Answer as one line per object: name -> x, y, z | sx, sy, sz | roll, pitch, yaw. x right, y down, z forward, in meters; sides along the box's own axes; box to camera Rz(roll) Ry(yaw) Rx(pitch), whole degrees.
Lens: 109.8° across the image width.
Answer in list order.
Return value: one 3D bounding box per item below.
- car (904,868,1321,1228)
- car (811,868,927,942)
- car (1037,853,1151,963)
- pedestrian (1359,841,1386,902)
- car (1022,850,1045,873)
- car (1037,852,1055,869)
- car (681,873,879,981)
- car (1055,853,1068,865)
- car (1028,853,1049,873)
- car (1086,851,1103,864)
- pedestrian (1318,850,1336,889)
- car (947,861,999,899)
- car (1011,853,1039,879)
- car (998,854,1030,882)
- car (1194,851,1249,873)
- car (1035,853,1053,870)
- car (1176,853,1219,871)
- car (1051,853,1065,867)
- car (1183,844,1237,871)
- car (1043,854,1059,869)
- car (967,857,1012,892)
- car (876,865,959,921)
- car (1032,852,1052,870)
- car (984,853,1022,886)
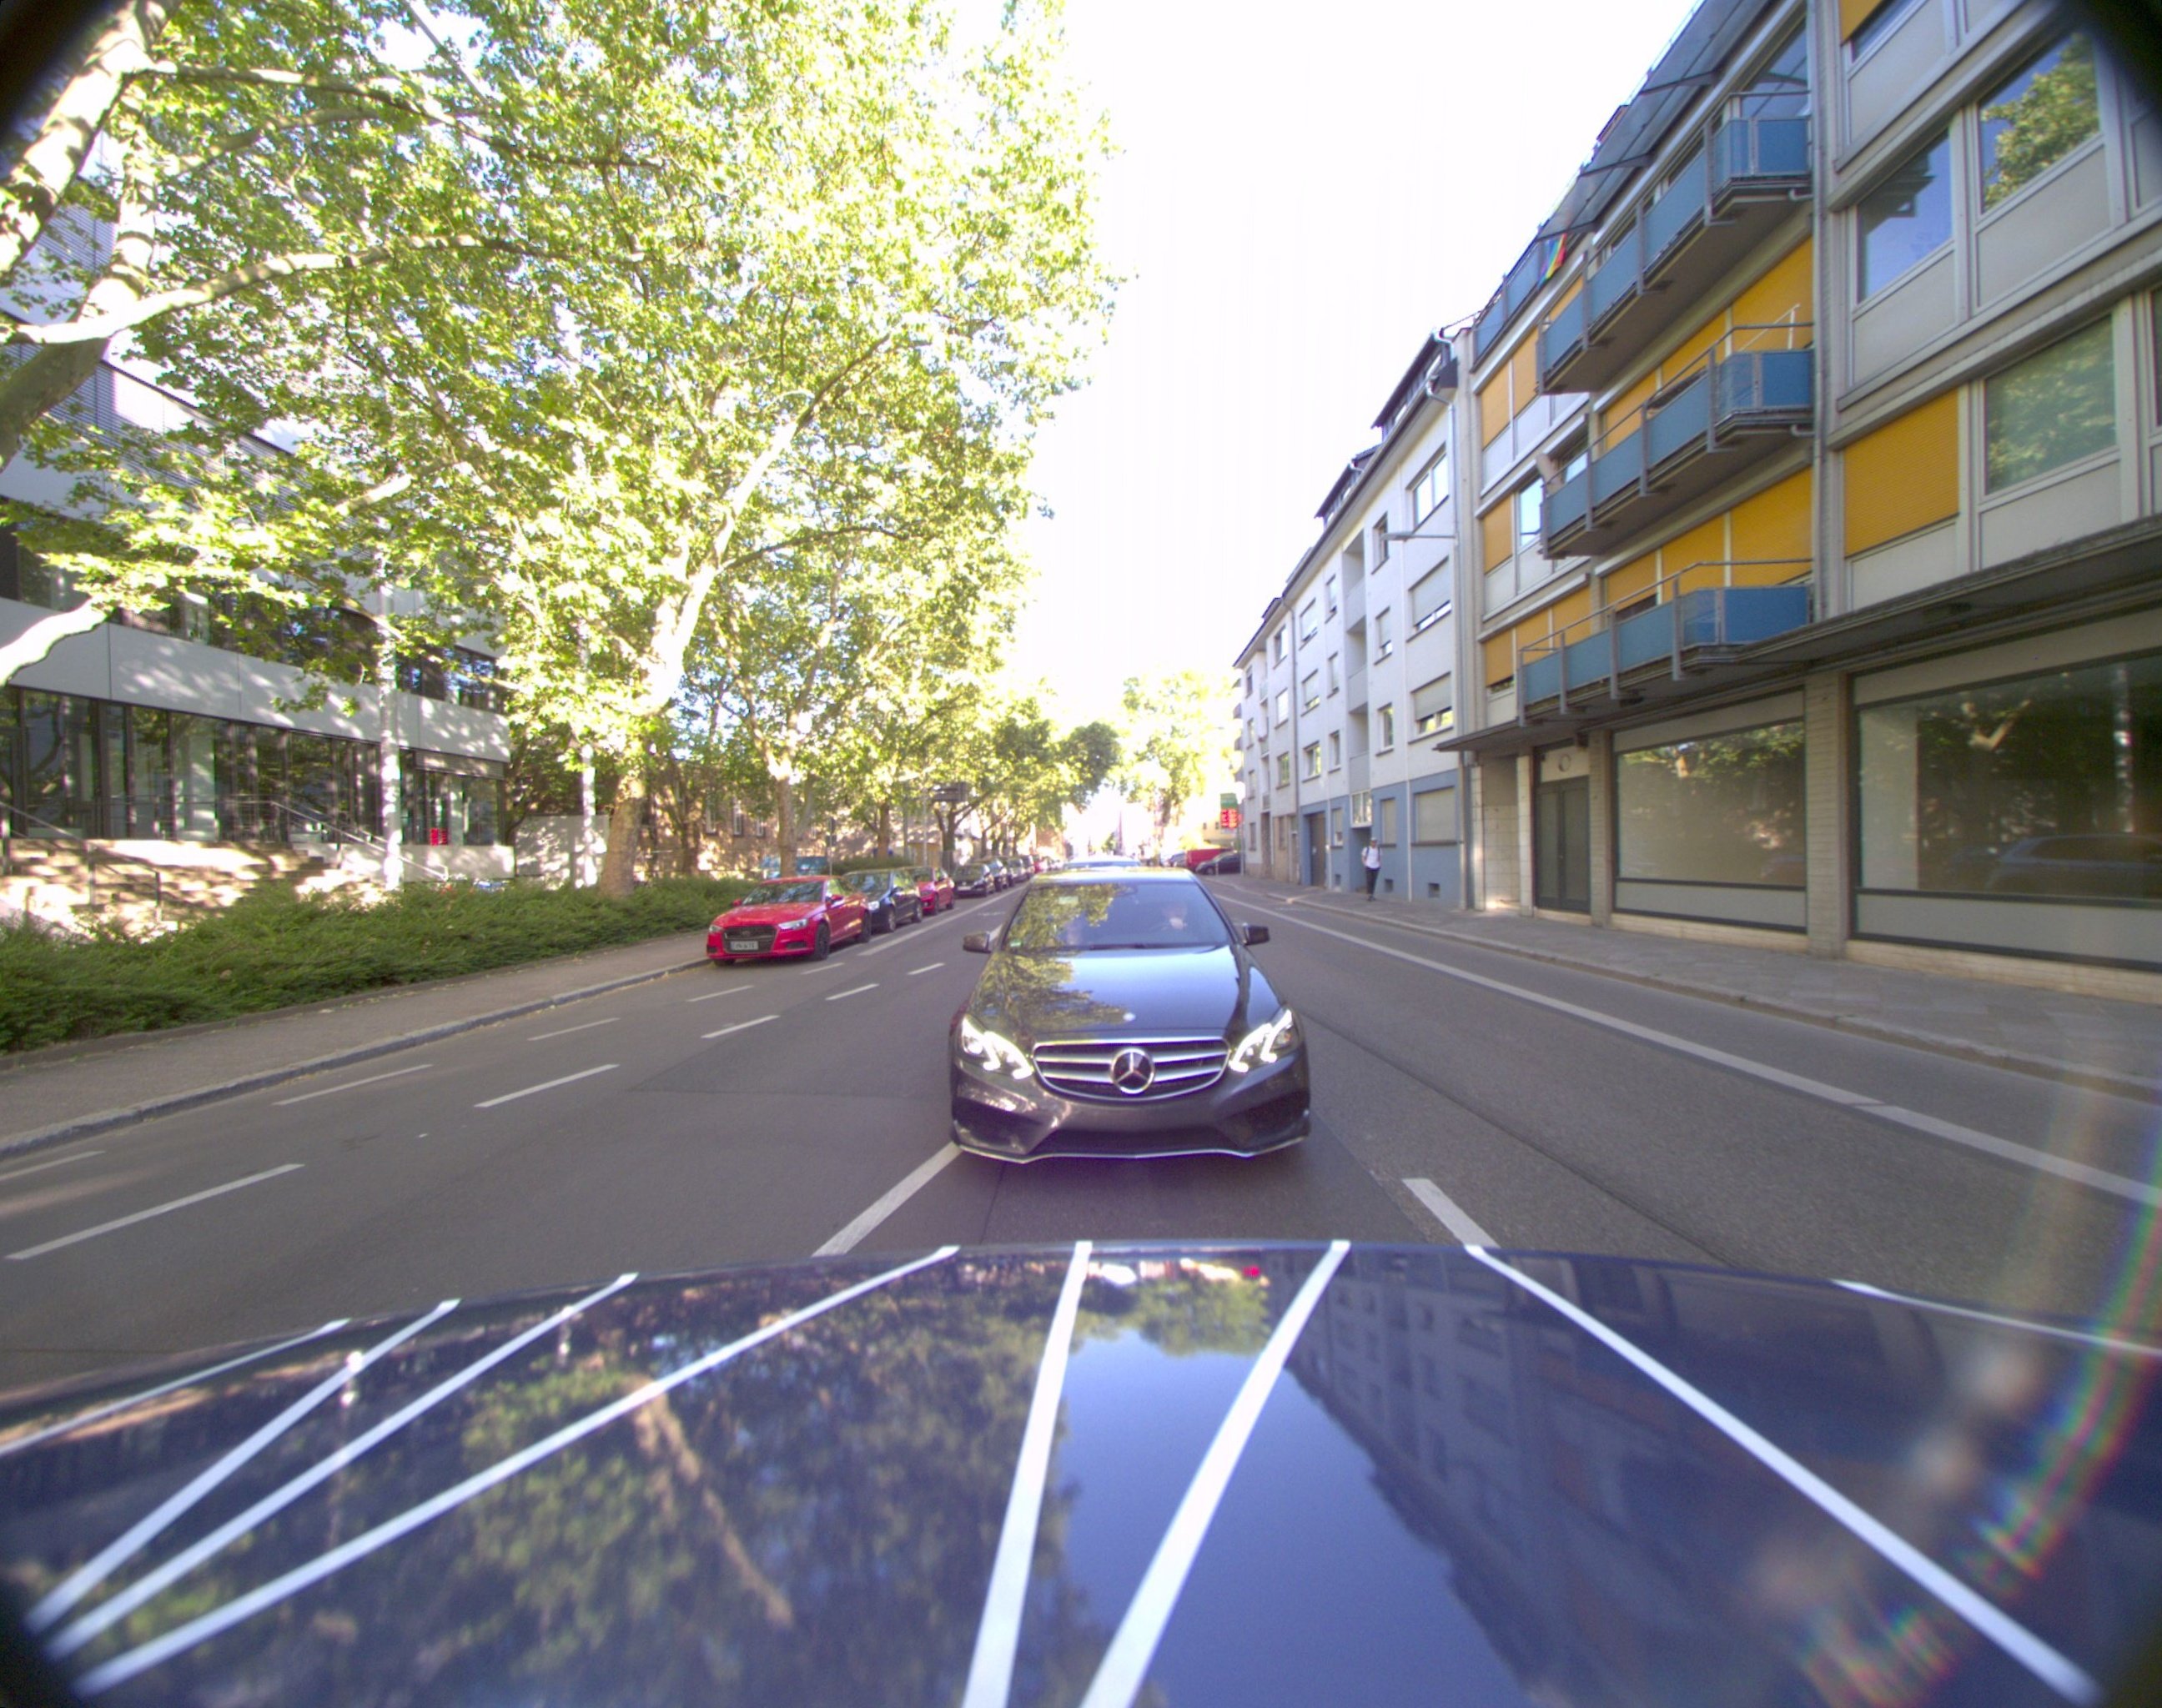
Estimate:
car -> 0.169, 0.913, 5.485 | 1.804, 1.455, 4.125 | -3, 0, 1
car -> -5.017, 1.150, 18.486 | 1.635, 1.455, 3.740 | -3, 0, 1
car -> 0.231, 0.829, 13.779 | 1.680, 1.622, 4.125 | -3, 0, 1
pedestrian -> 8.420, 0.510, 21.932 | 0.569, 1.716, 0.343 | -3, 1, 1
car -> -4.131, 0.646, 66.041 | 1.635, 1.878, 3.673 | -3, 0, 1
car -> -3.952, 0.726, 86.096 | 1.635, 1.713, 3.673 | -3, 0, 1
car -> -5.160, 1.166, 13.692 | 1.804, 1.455, 4.125 | -3, 0, 1
car -> -2.737, 0.724, 109.680 | 1.635, 1.713, 3.673 | -3, 0, 1
car -> -3.939, 0.793, 71.080 | 1.635, 1.713, 3.673 | -3, 0, 1
car -> 1.578, 0.394, 89.963 | 1.853, 1.455, 4.099 | -3, 0, 1
pedestrian -> 9.609, 0.596, 29.662 | 0.343, 1.509, 0.569 | -3, 1, -14
car -> -4.662, 1.096, 33.320 | 1.635, 1.455, 3.740 | -3, 0, 1
car -> -4.075, 0.834, 55.510 | 1.635, 1.799, 3.673 | -3, 0, 1
car -> -4.422, 0.902, 50.717 | 1.635, 1.644, 3.845 | -3, 0, 1
car -> 10.081, 0.564, 54.705 | 3.670, 1.403, 1.636 | -3, 0, 1
car -> -3.939, 0.766, 82.057 | 1.635, 1.713, 3.673 | -3, 0, 1
car -> 9.582, 0.643, 62.606 | 3.325, 1.241, 1.295 | -3, 0, 1
car -> -3.047, 0.800, 102.728 | 1.635, 1.713, 3.673 | -3, 0, 1
car -> 10.174, 0.269, 59.999 | 3.927, 1.912, 1.636 | -3, 0, 1
car -> -3.619, 0.933, 92.243 | 1.635, 1.713, 3.673 | -3, 0, 1
car -> -4.531, 0.975, 38.045 | 1.635, 1.578, 3.845 | -3, 0, 1
car -> -4.993, 1.148, 23.680 | 1.635, 1.455, 3.740 | -3, 0, 1
car -> -3.993, 0.743, 78.226 | 1.635, 1.713, 3.673 | -3, 0, 1
car -> -4.491, 0.858, 44.215 | 1.635, 1.795, 3.845 | -3, 0, 1
